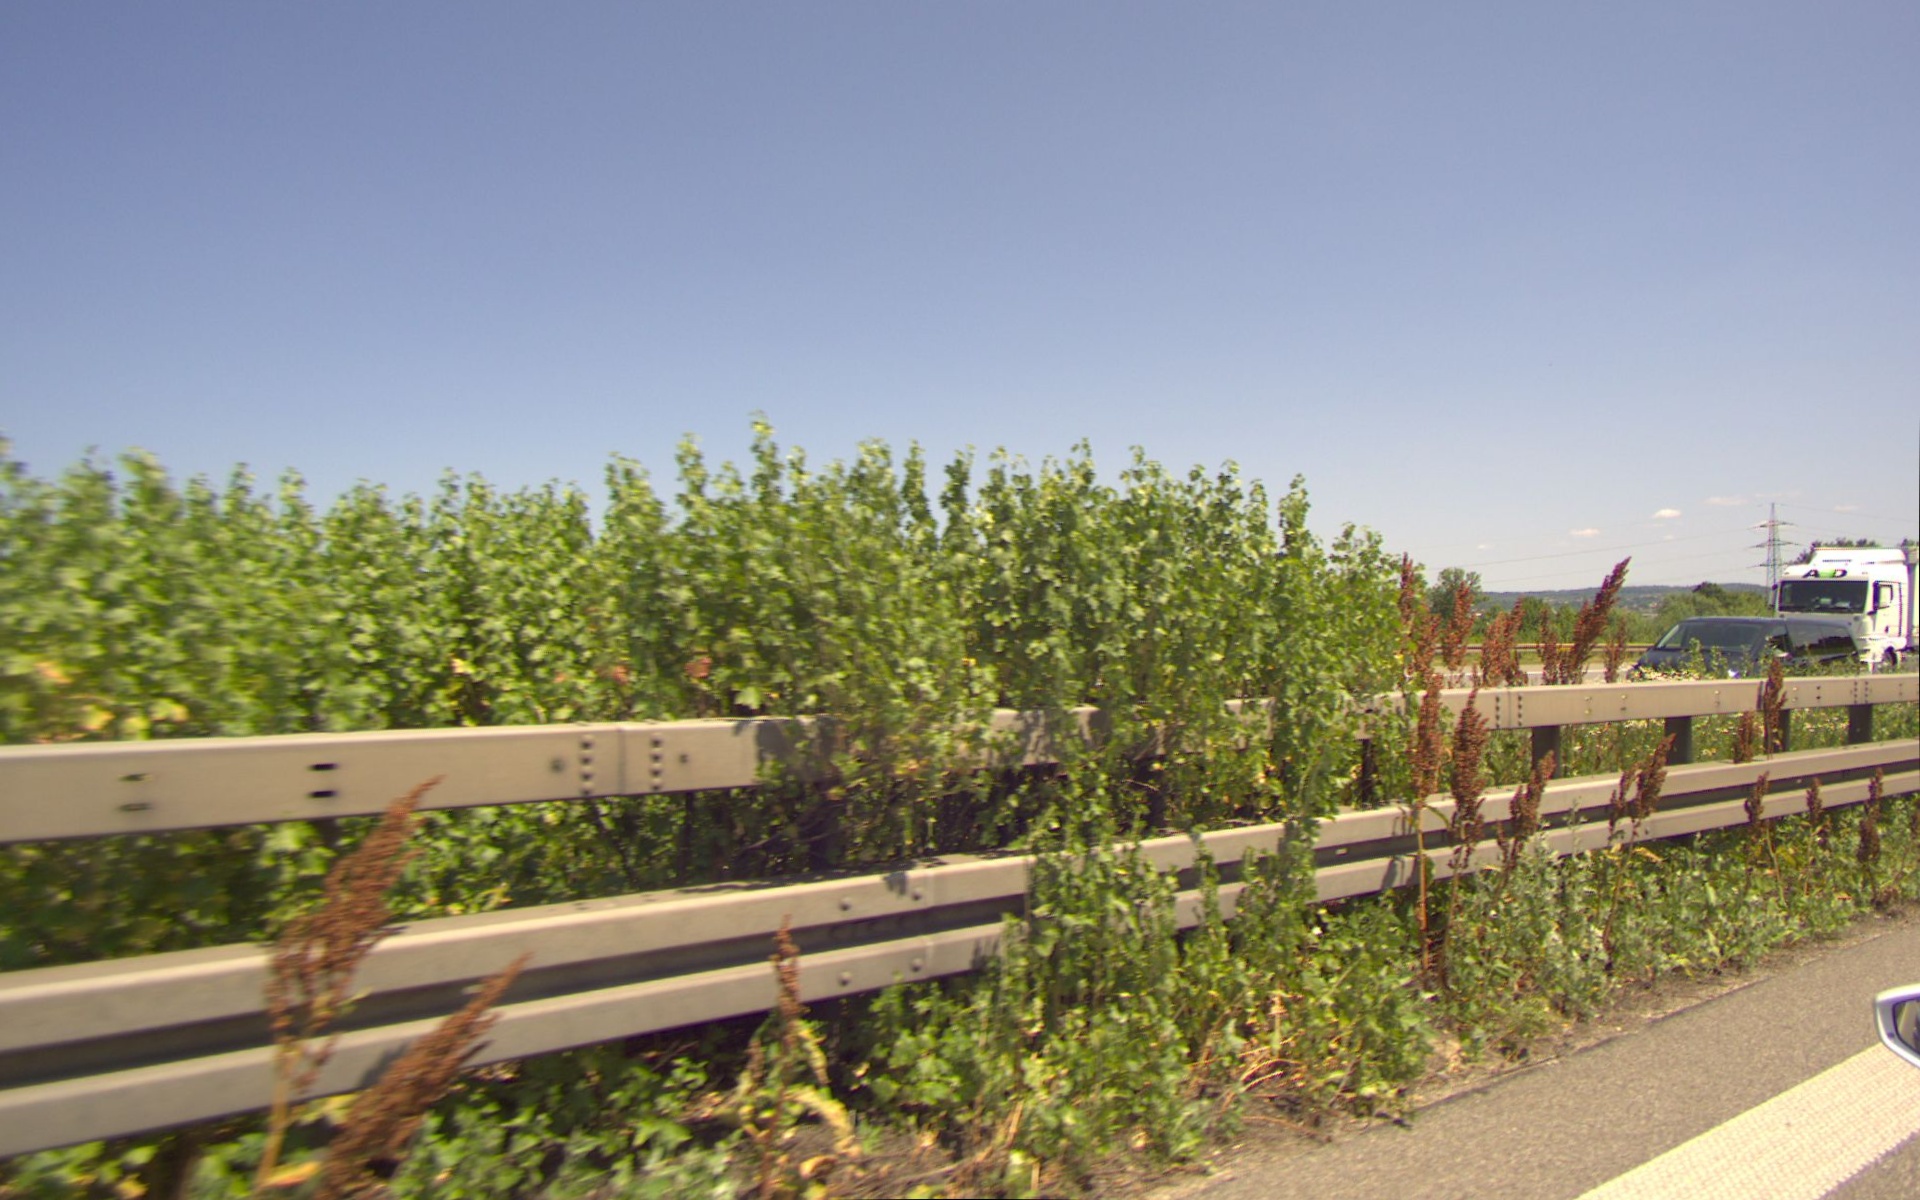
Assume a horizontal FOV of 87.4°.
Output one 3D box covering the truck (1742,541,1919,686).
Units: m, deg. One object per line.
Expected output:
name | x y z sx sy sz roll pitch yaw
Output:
truck | 27.621 0.397 31.422 5.161 4.164 3.163 1 0 -29

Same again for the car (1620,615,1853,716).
car | 14.158 1.099 18.287 4.172 1.609 1.906 1 0 -30

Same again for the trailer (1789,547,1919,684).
trailer | 34.123 0.520 35.001 13.869 4.131 3.179 1 0 -29
